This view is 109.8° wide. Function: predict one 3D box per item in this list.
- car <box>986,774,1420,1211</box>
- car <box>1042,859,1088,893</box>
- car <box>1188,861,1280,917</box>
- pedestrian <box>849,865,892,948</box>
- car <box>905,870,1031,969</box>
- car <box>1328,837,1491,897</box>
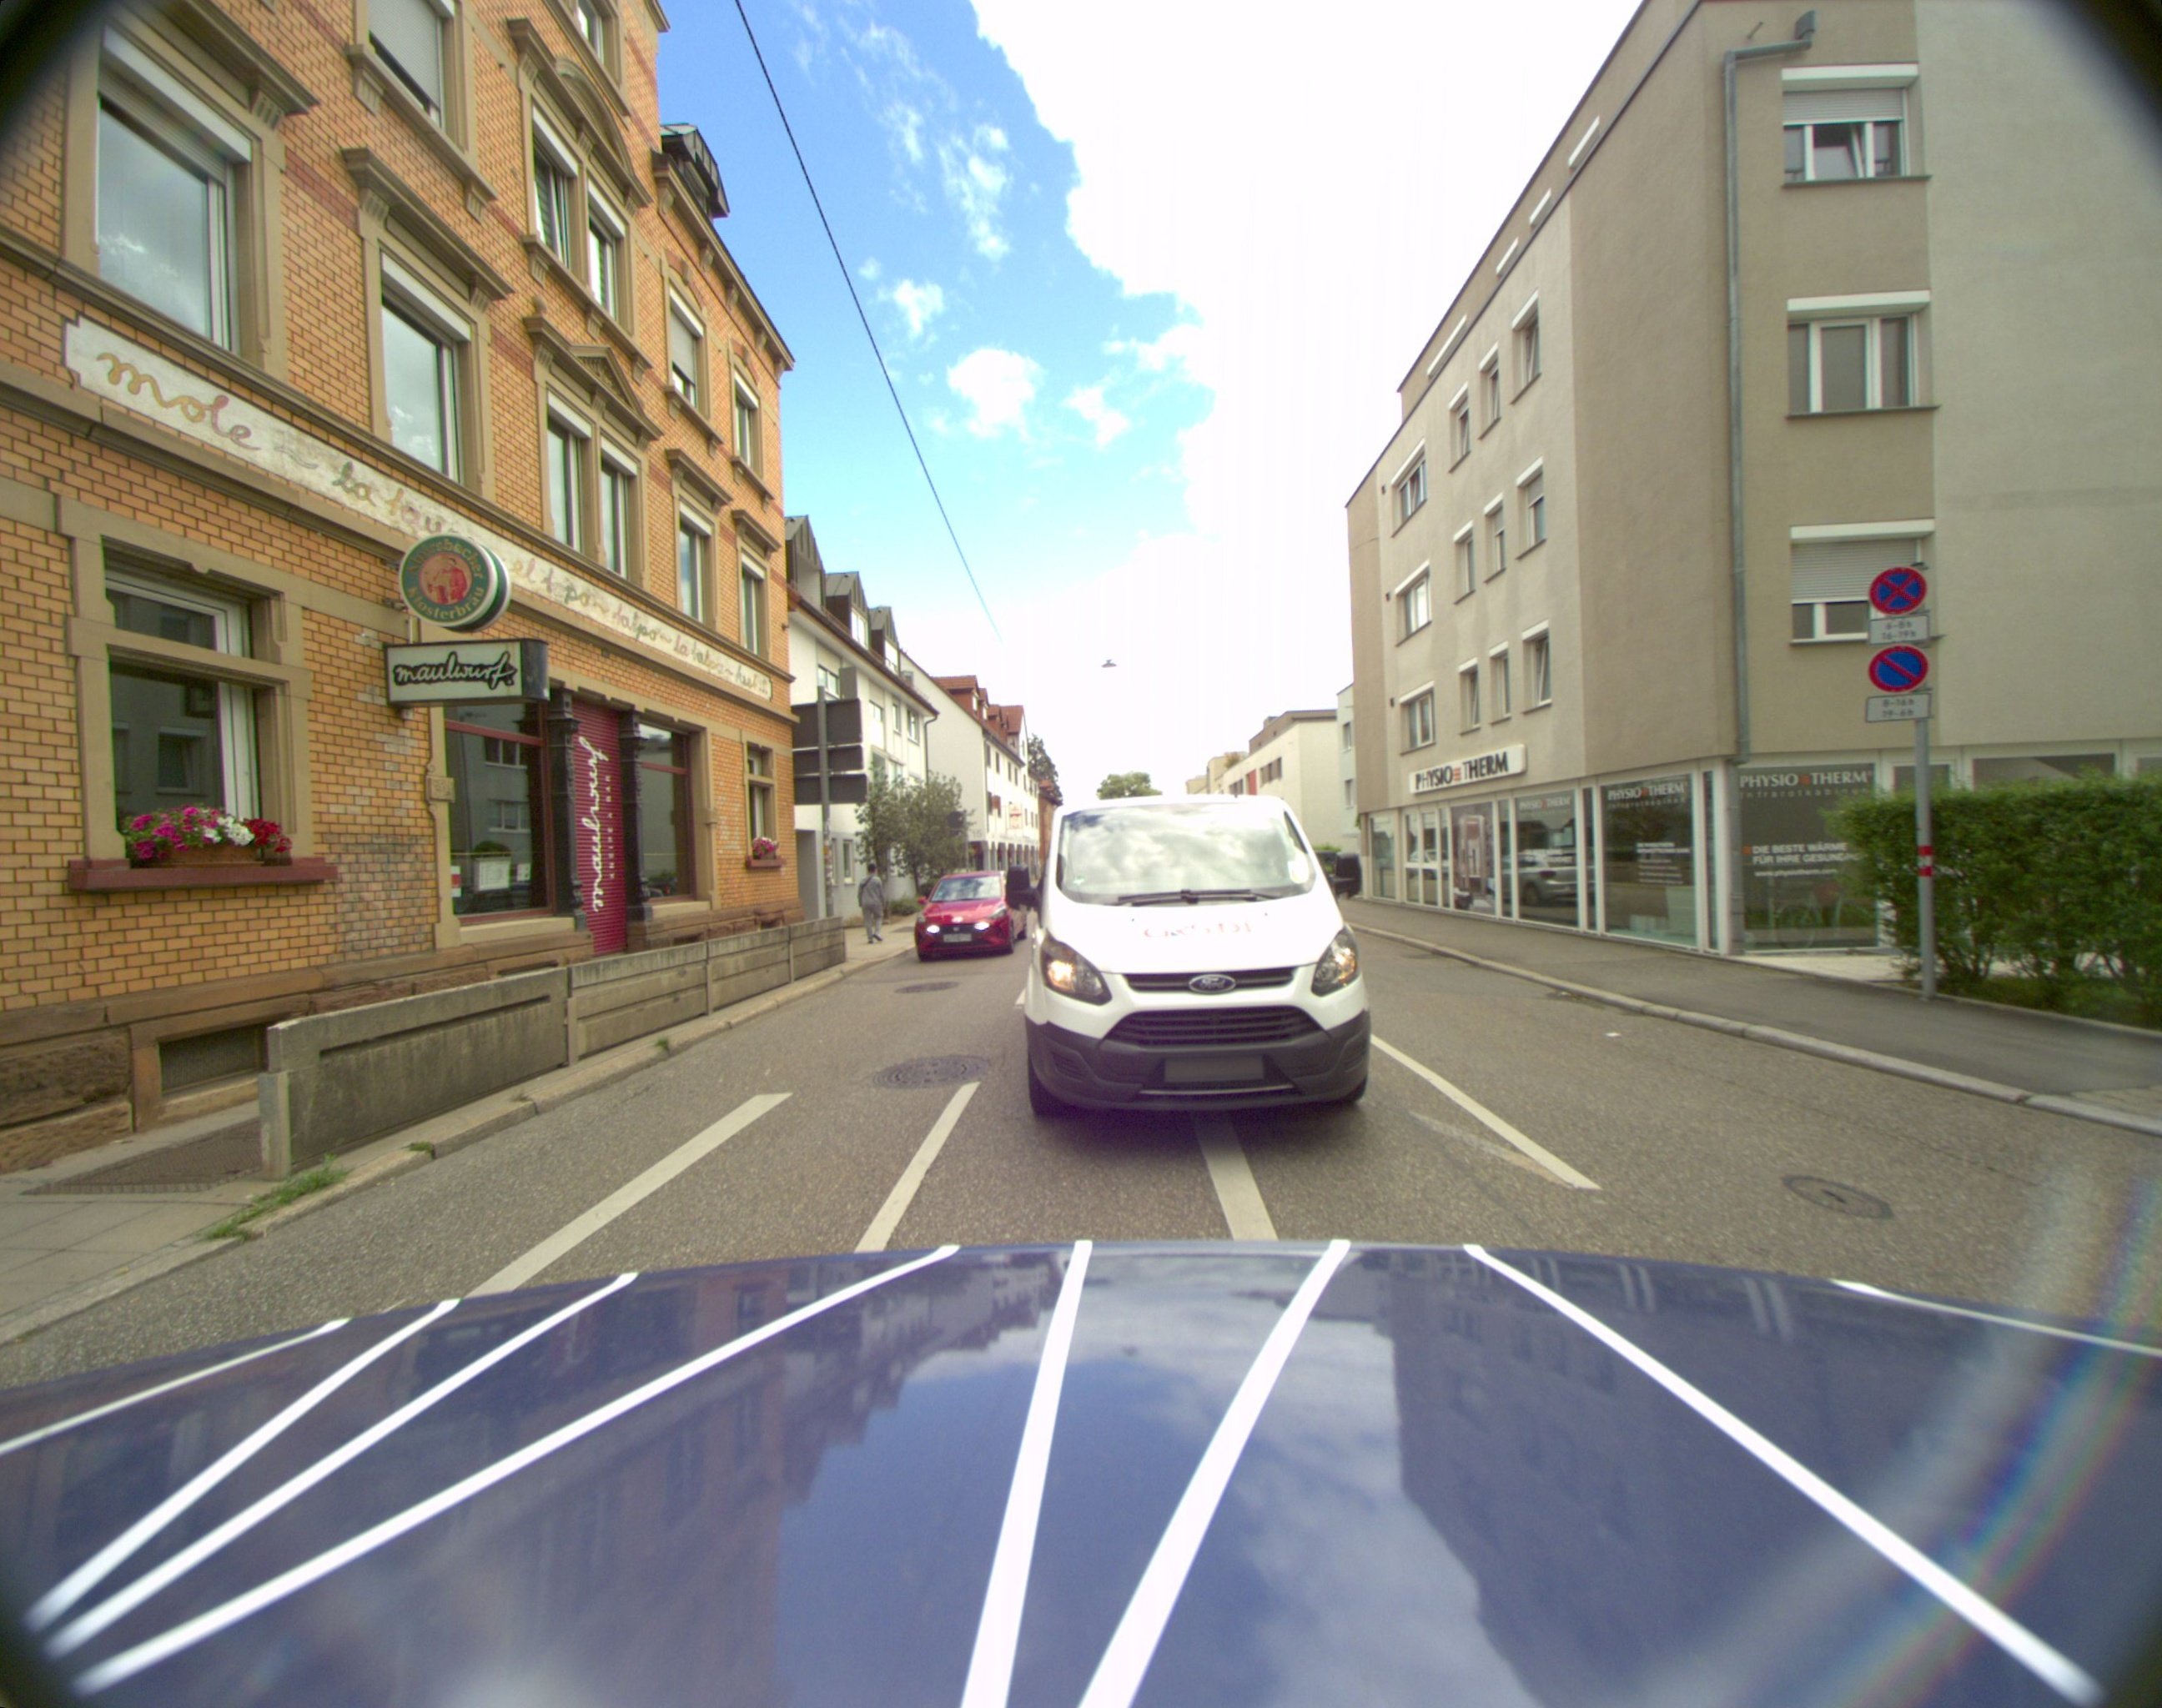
[{"bbox_3d":[0.589,0.656,6.094,1.965,1.986,5.087,-2,0,0],"label":"car"},{"bbox_3d":[-0.803,1.163,41.345,1.998,1.537,4.572,-4,0,4],"label":"car"},{"bbox_3d":[4.161,0.903,21.331,1.804,1.409,4.000,0,0,0],"label":"car"},{"bbox_3d":[-4.491,1.111,16.254,0.690,1.720,0.650,-2,0,0],"label":"pedestrian"},{"bbox_3d":[-2.012,1.137,14.678,1.702,1.444,4.000,-4,0,0],"label":"car"},{"bbox_3d":[11.888,0.462,27.796,5.082,1.986,1.967,-2,0,4],"label":"car"}]
